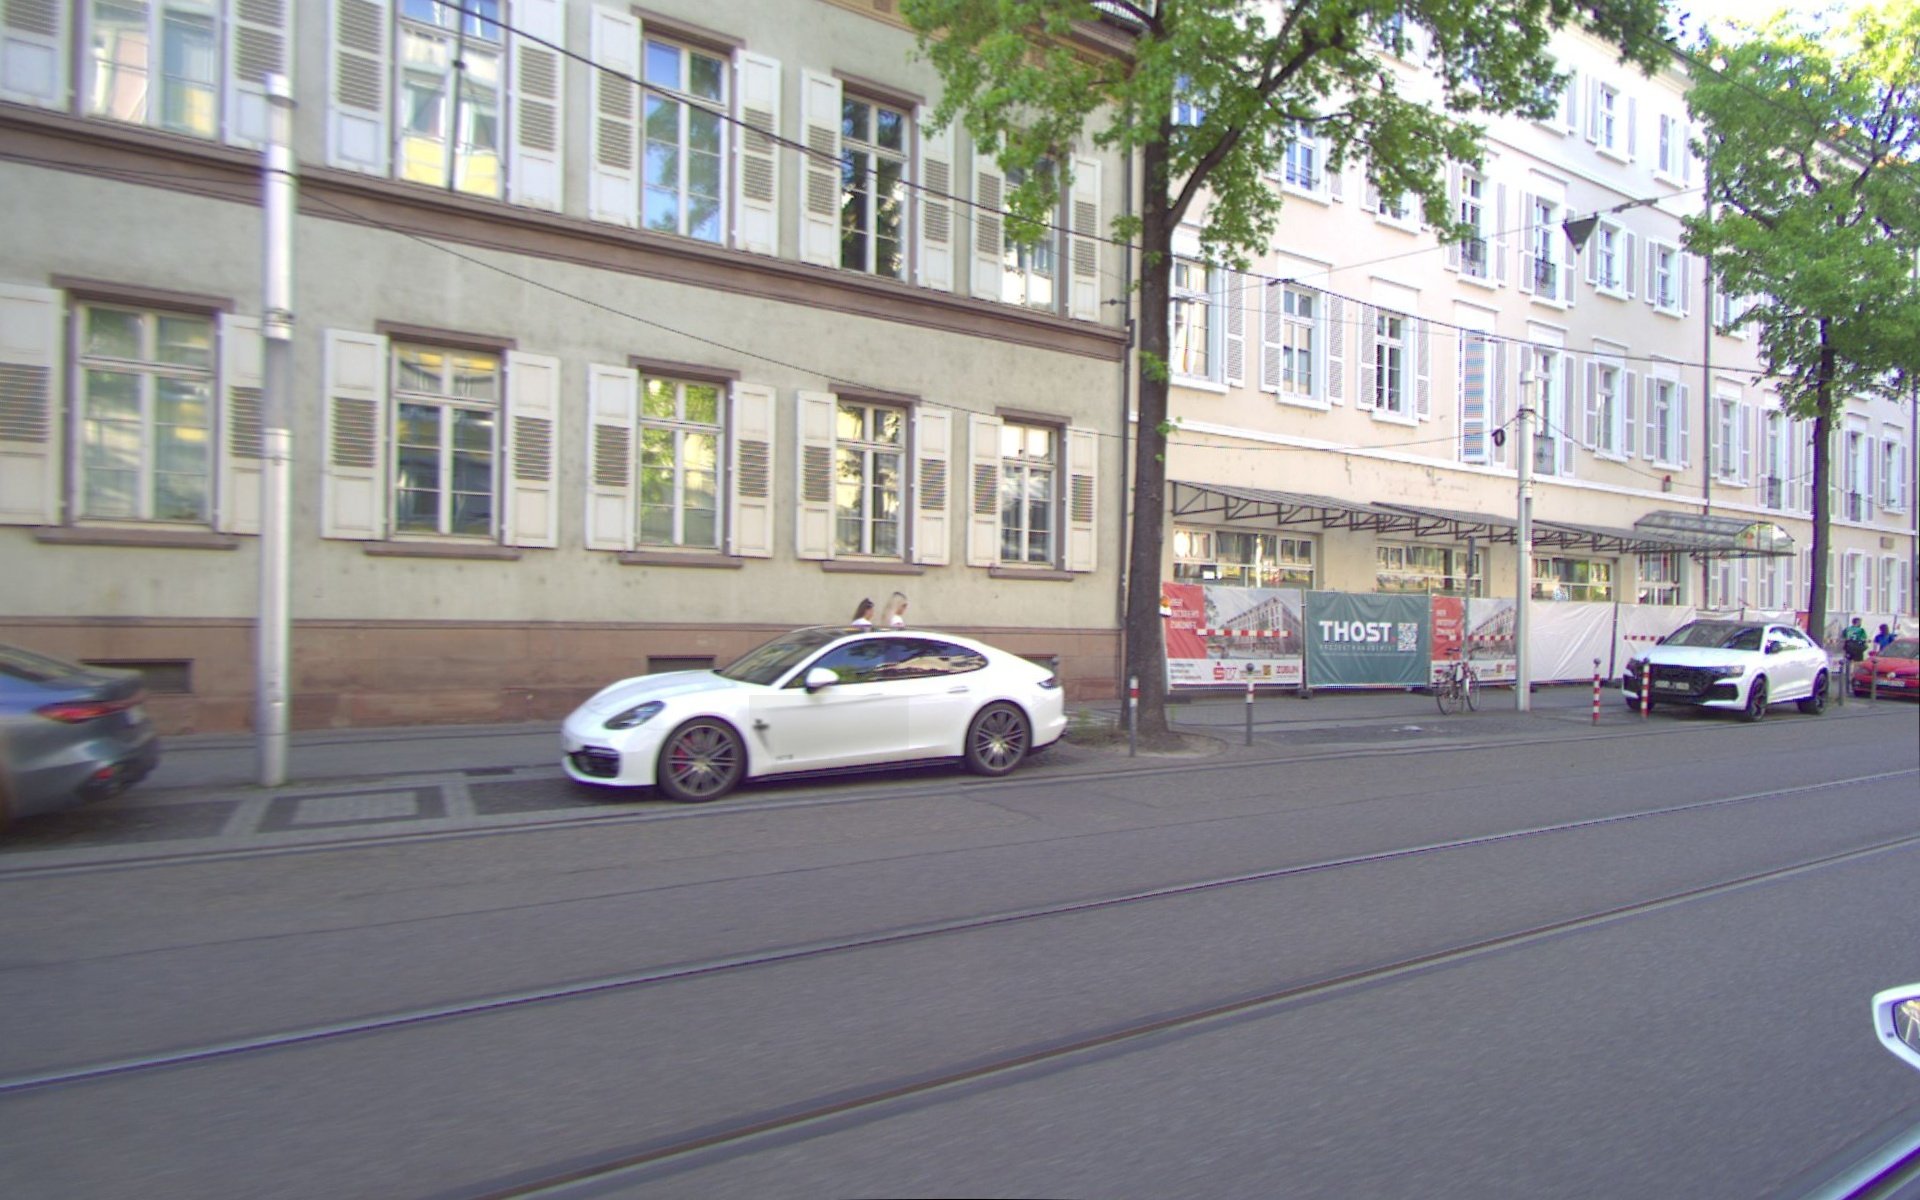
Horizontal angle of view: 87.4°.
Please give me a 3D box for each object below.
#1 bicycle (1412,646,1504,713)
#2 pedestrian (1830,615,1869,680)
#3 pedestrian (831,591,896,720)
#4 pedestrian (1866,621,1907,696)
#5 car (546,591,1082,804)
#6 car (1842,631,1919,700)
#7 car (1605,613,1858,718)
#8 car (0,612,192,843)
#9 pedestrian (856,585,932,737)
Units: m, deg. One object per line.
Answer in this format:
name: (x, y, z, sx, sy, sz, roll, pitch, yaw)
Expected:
bicycle: (8.479, 1.321, 17.077, 1.990, 1.064, 0.589, 2, -1, -37)
pedestrian: (25.465, 1.355, 28.758, 0.669, 1.830, 0.703, 1, -1, -35)
pedestrian: (-1.313, 0.741, 13.653, 0.640, 1.702, 0.671, 1, -1, -30)
pedestrian: (25.877, 1.621, 28.055, 0.668, 2.031, 0.703, 1, -1, -33)
car: (-1.344, 0.820, 9.897, 4.850, 1.662, 1.938, 2, 0, -29)
car: (22.991, 1.538, 23.925, 4.182, 1.519, 1.681, 2, -1, -29)
car: (14.449, 1.170, 18.757, 4.952, 1.714, 1.953, 2, -1, -29)
car: (-7.947, 0.775, 6.275, 4.794, 1.431, 1.951, 2, -1, -33)
pedestrian: (-0.790, 0.709, 11.983, 0.648, 1.743, 0.683, 1, -1, -30)
